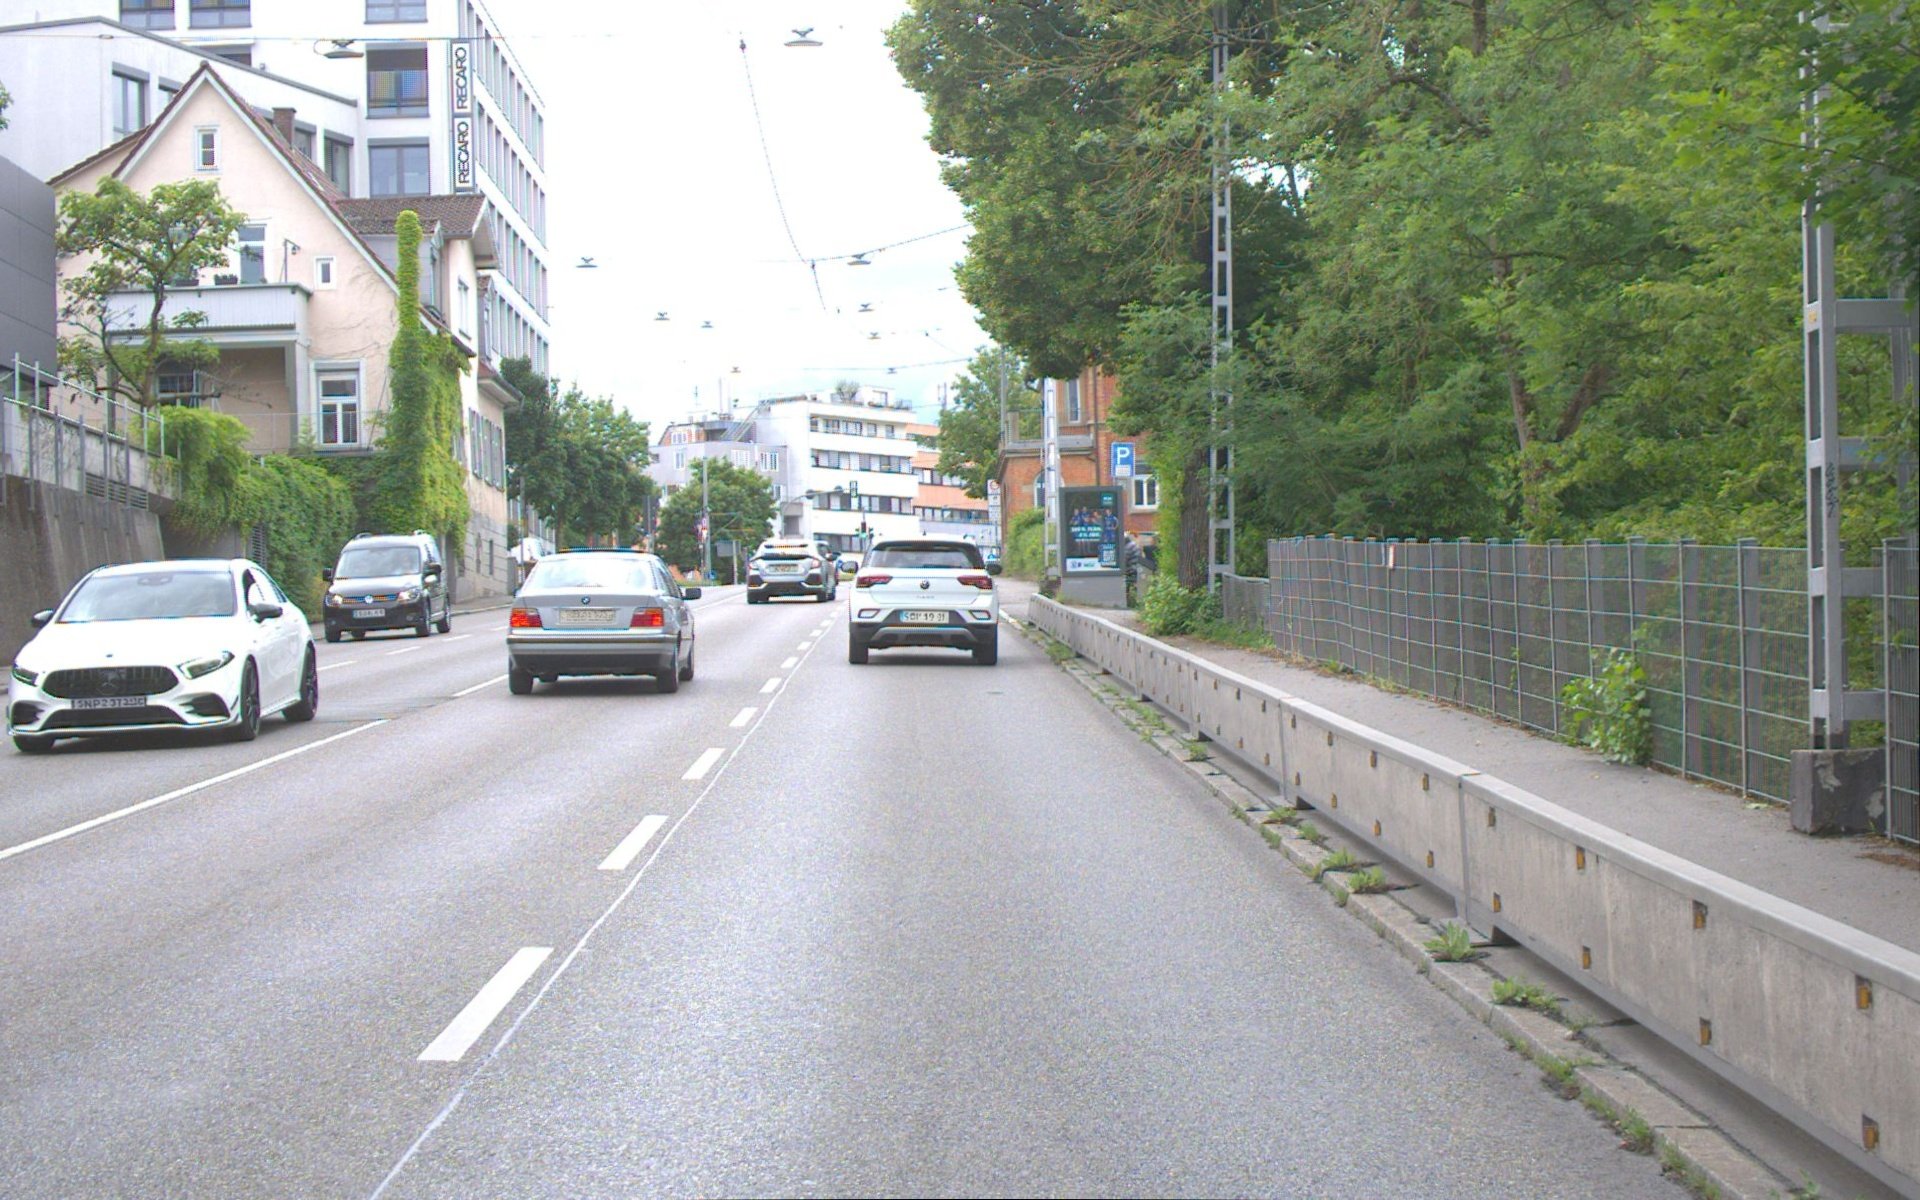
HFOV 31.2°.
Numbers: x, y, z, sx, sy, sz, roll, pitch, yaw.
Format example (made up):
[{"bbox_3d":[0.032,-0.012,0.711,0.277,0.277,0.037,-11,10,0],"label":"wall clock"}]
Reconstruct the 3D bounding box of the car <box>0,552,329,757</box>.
[{"bbox_3d":[-6.339,0.373,27.313,1.815,1.382,4.463,-3,1,-1],"label":"car"}]

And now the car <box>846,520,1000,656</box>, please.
[{"bbox_3d":[-0.490,-0.172,41.845,1.780,1.573,4.000,0,1,-2],"label":"car"}]

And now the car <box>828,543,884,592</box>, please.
[{"bbox_3d":[-3.281,-1.049,108.927,1.706,1.459,4.000,-1,1,-1],"label":"car"}]

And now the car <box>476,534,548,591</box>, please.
[{"bbox_3d":[-13.914,-1.182,106.913,1.993,1.695,4.001,-1,1,-5],"label":"car"}]

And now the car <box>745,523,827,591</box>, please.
[{"bbox_3d":[-3.924,-0.989,77.987,1.706,1.459,4.000,-1,1,-1],"label":"car"}]

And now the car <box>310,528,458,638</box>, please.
[{"bbox_3d":[-9.941,-0.331,59.671,1.816,1.778,4.495,-2,1,-1],"label":"car"}]

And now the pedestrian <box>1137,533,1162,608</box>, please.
[{"bbox_3d":[4.338,-0.673,78.775,0.509,1.711,0.465,-1,1,-2],"label":"pedestrian"}]

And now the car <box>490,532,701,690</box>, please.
[{"bbox_3d":[-3.582,0.065,34.363,1.706,1.459,4.000,-1,1,-1],"label":"car"}]
